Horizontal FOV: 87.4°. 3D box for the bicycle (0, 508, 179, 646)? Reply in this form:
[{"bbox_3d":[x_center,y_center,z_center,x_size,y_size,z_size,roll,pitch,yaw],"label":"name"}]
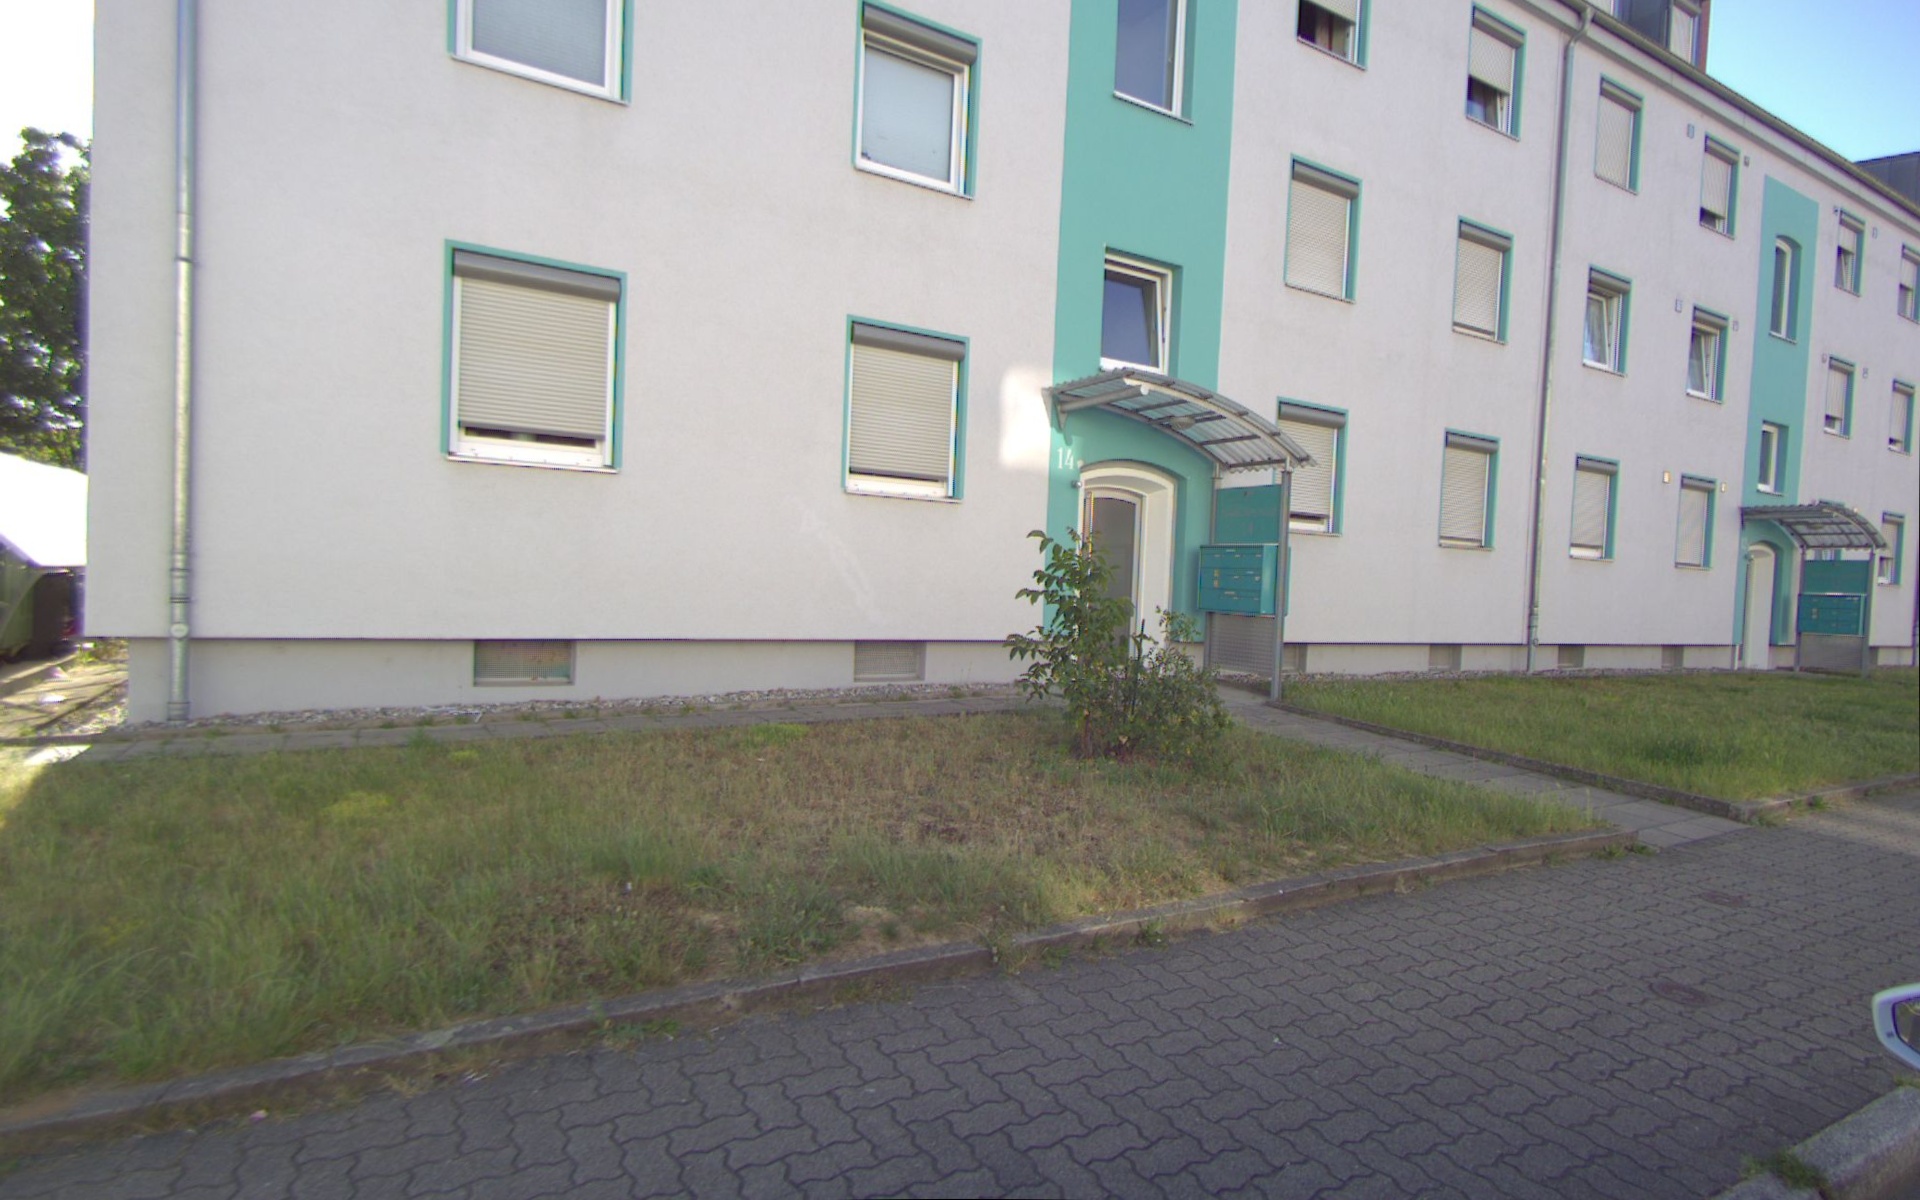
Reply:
[{"bbox_3d":[-10.565,-0.259,11.739,2.172,1.546,0.660,1,2,-30],"label":"bicycle"}]

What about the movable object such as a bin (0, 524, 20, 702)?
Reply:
[{"bbox_3d":[-8.111,0.071,7.964,0.899,1.374,1.238,1,2,-41],"label":"movable object such as a bin"}]

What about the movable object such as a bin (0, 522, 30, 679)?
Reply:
[{"bbox_3d":[-8.973,-0.027,9.057,0.797,1.366,1.243,0,3,-40],"label":"movable object such as a bin"}]

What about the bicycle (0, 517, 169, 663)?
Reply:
[{"bbox_3d":[-10.051,-0.119,10.932,2.172,1.530,0.699,1,3,-30],"label":"bicycle"}]
